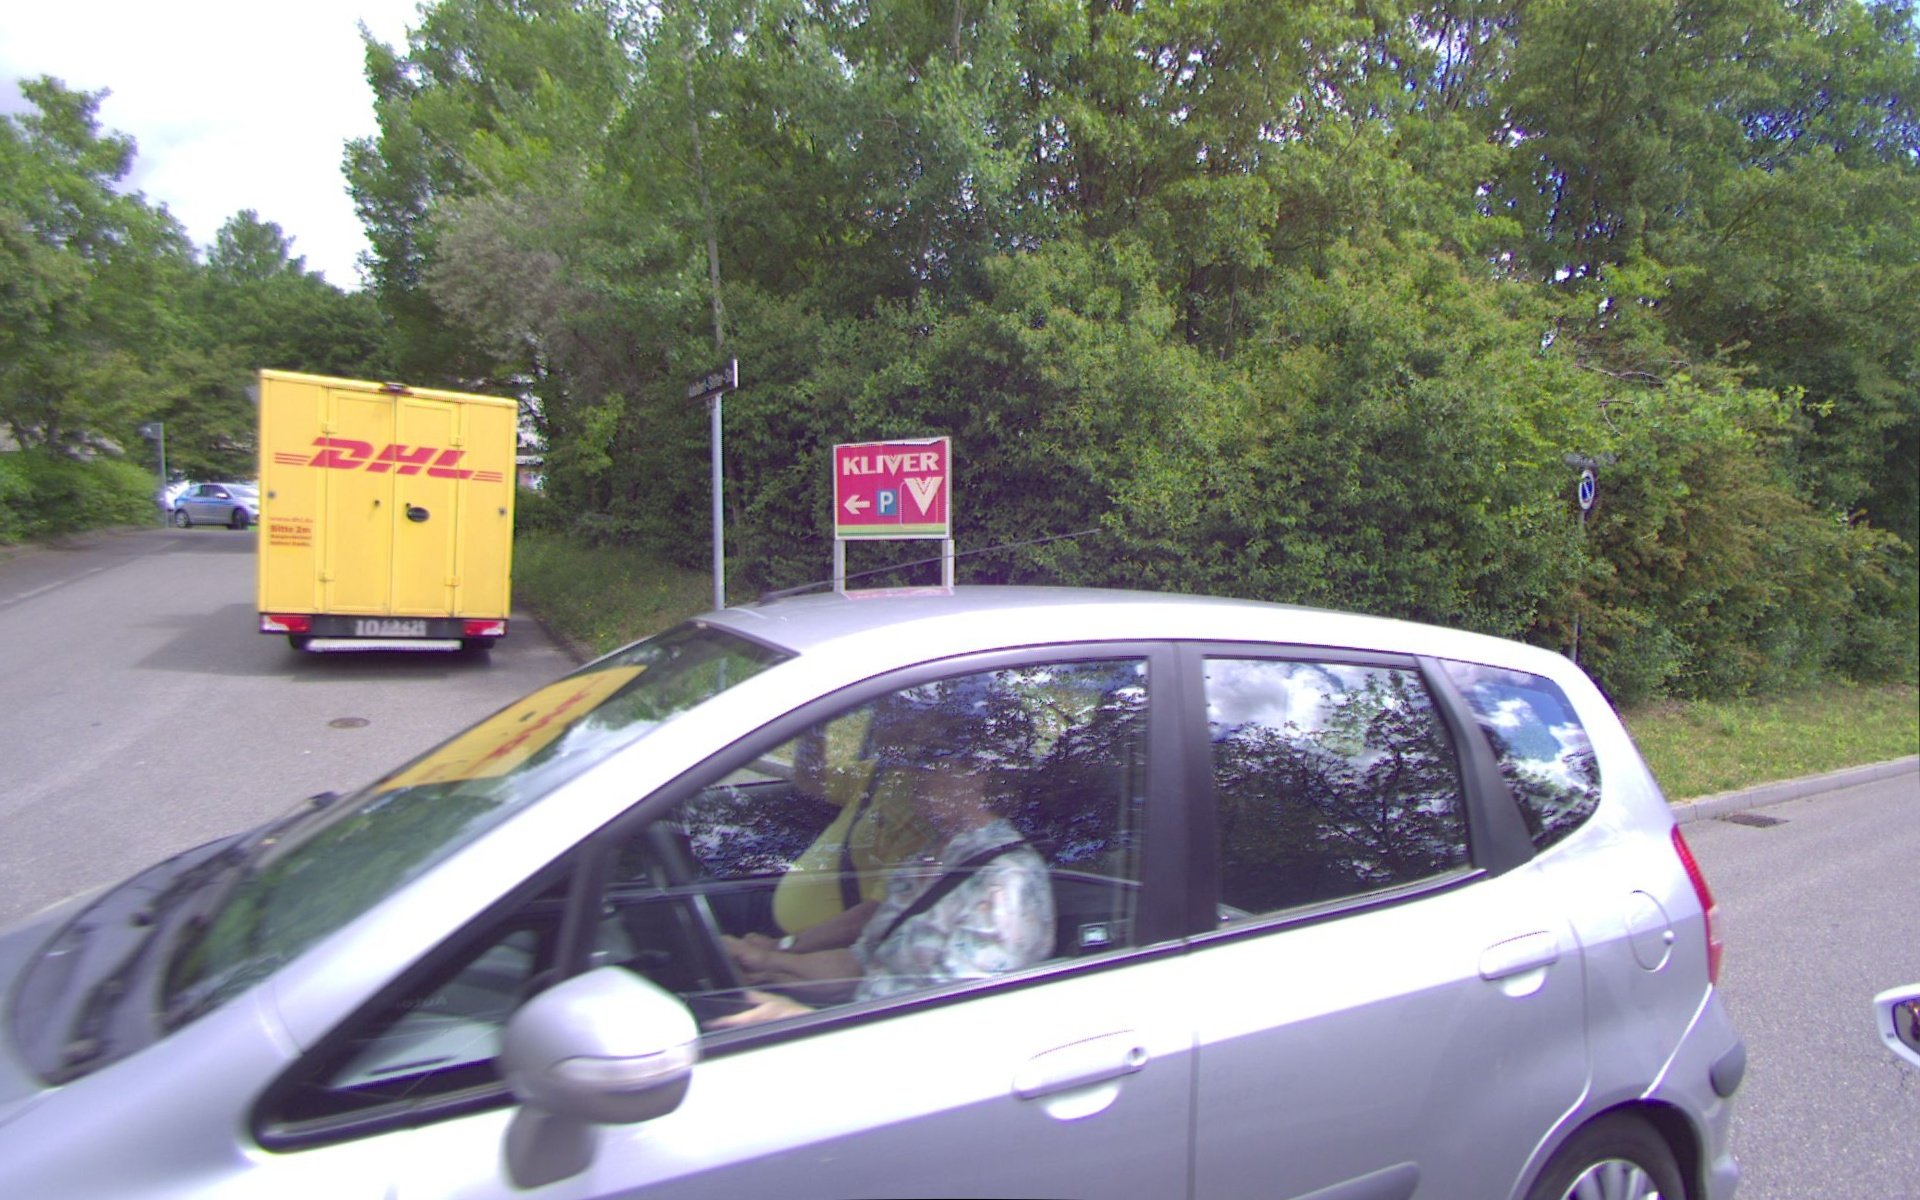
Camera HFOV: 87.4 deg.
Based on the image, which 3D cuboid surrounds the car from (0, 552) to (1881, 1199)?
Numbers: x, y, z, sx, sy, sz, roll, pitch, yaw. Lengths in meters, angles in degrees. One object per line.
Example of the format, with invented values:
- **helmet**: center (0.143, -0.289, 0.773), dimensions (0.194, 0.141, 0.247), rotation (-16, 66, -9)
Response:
- **car**: center (-0.090, 0.724, 2.123), dimensions (3.606, 1.475, 1.834), rotation (2, 0, -27)

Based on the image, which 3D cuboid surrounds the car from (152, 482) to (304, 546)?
- **car**: center (-22.534, -2.647, 30.957), dimensions (3.920, 1.684, 1.660), rotation (4, 3, 14)

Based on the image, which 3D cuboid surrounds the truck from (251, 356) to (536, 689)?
- **truck**: center (-6.600, -0.977, 12.009), dimensions (2.205, 2.846, 6.522), rotation (2, 6, -28)

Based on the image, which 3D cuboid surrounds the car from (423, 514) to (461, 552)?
- **car**: center (-29.426, -3.764, 57.017), dimensions (1.773, 1.850, 3.969), rotation (1, 0, -29)
